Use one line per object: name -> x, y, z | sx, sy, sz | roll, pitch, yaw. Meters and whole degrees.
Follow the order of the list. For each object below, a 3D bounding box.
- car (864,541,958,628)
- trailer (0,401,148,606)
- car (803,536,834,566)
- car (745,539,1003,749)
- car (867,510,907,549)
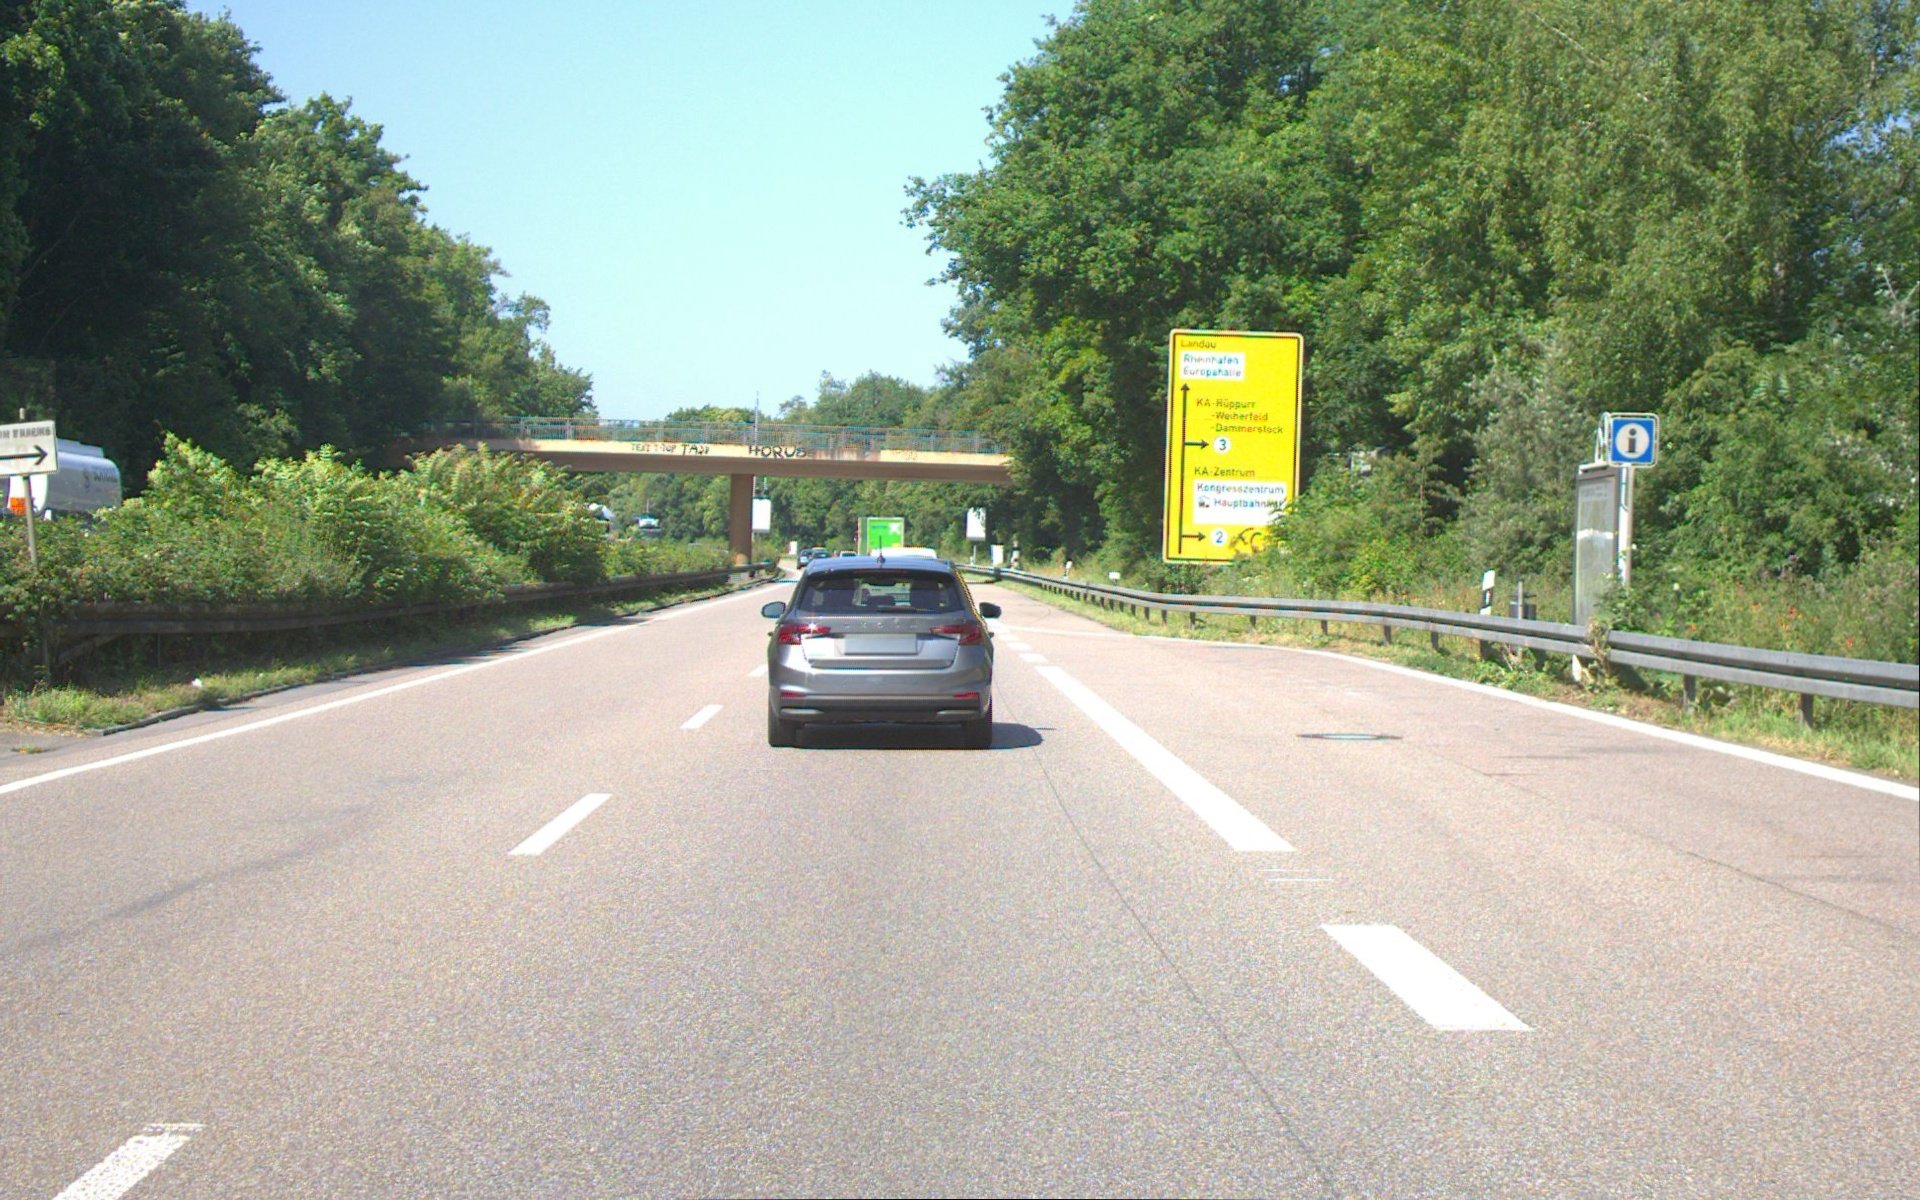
car -> -0.834, -0.293, 59.821 | 1.522, 1.442, 3.340 | 1, 1, 1
trailer -> -16.424, -1.580, 57.234 | 2.492, 3.224, 14.432 | 1, 1, 0
car -> -9.726, -3.365, 236.382 | 1.993, 2.007, 4.000 | 1, 1, -1
car -> -0.601, 0.286, 26.676 | 1.840, 1.467, 3.623 | 1, 1, 1
car -> -5.103, -4.937, 240.539 | 2.748, 2.645, 4.000 | 1, 1, -1
